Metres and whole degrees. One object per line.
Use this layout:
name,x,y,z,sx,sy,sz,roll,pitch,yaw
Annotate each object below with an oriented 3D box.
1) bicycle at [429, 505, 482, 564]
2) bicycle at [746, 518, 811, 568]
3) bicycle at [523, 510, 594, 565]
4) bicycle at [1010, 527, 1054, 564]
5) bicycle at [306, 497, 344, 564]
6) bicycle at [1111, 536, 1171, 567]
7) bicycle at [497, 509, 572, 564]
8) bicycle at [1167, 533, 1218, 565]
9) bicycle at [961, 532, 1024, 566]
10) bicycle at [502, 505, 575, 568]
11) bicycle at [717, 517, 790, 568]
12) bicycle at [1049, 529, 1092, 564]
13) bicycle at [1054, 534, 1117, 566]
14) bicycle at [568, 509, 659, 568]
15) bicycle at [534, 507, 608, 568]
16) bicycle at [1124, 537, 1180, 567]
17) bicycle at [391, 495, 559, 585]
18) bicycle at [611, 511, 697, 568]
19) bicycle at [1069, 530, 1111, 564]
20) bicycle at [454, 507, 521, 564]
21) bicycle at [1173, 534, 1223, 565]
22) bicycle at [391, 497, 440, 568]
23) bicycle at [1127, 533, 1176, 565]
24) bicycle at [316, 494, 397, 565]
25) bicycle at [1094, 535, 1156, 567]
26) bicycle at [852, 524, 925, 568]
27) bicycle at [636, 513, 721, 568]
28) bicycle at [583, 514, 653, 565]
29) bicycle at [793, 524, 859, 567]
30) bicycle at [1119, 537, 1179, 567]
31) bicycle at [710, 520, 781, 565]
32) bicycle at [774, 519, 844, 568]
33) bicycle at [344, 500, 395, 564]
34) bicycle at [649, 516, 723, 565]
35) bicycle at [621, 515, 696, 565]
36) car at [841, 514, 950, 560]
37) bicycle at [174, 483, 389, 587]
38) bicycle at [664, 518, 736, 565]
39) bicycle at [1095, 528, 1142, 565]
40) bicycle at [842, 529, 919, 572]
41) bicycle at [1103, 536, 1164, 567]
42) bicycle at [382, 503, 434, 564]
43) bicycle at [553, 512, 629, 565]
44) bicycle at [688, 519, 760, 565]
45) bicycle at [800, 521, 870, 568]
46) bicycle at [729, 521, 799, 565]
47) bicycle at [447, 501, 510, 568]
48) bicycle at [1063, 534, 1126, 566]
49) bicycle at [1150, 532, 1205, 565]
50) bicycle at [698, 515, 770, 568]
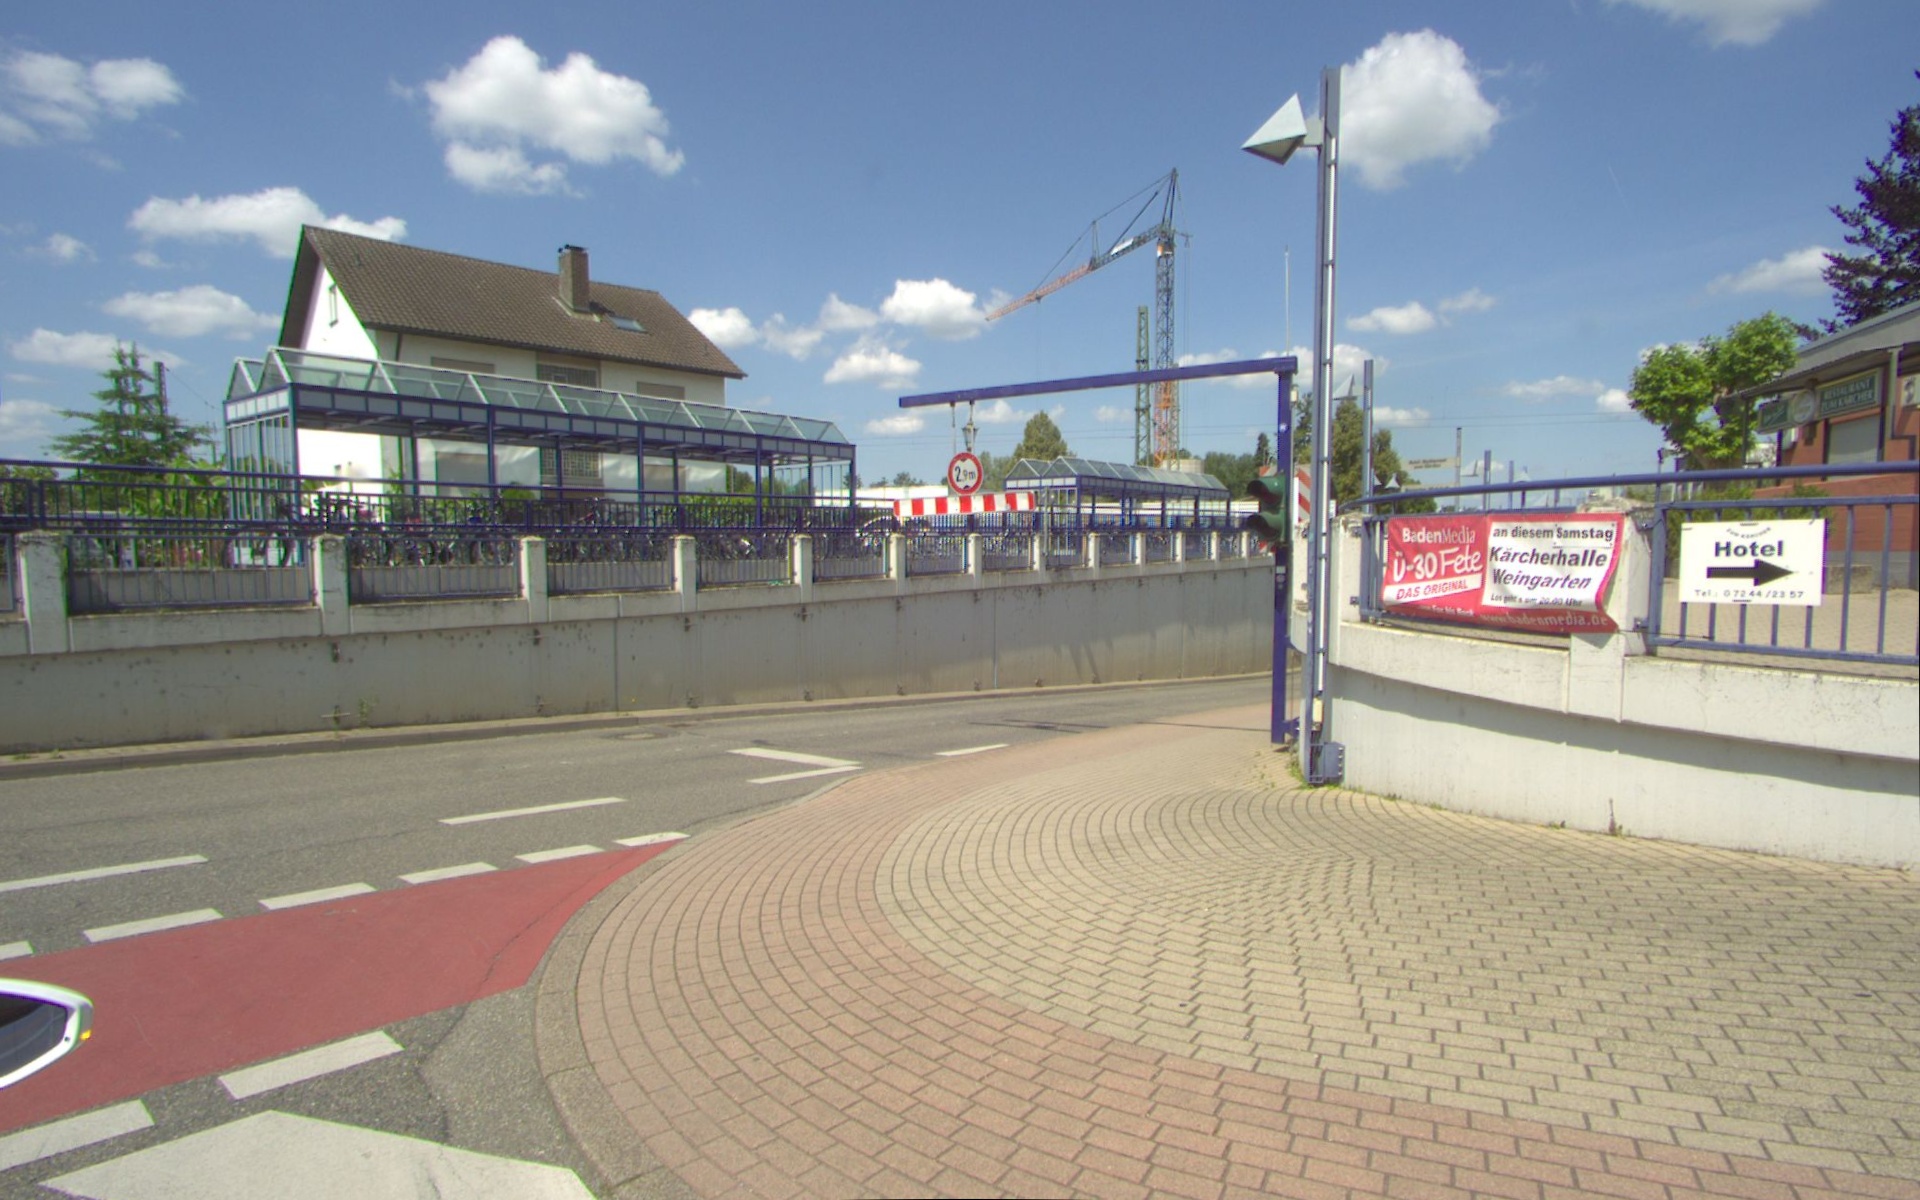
bicycle,-9.083,-1.158,17.999,0.370,1.009,1.947,-2,4,-41
bicycle,-3.905,-1.210,21.408,0.511,1.009,2.022,-2,3,-38
bicycle,-7.838,-1.206,19.508,1.941,1.009,0.412,3,4,39
bicycle,2.337,-1.769,32.591,0.382,1.174,1.585,-2,4,-42
bicycle,-10.226,-1.094,16.117,0.450,1.009,1.874,-1,3,-34
bicycle,6.152,-1.655,34.129,1.999,1.009,0.508,2,3,36
bicycle,-8.149,-1.195,19.149,1.941,1.009,0.471,3,4,39
bicycle,8.798,-1.919,37.926,1.799,1.174,0.508,2,4,37
bicycle,0.999,-1.577,30.908,1.999,1.009,0.508,2,3,36
bicycle,-7.229,-1.070,17.109,0.432,1.009,2.259,-2,4,-42
bicycle,-4.320,-1.191,20.844,0.512,1.009,2.018,-2,4,-43
bicycle,3.727,-1.805,33.841,0.382,1.174,1.585,-2,4,-42
bicycle,3.938,-1.572,31.505,1.999,1.009,0.435,2,3,36
bicycle,-6.279,-1.099,18.065,2.254,1.009,0.529,3,4,42
bicycle,-6.837,-1.084,17.538,0.432,1.009,2.259,-2,4,-42
bicycle,6.705,-1.687,35.054,1.897,1.009,0.508,2,3,36
bicycle,-6.598,-0.797,13.748,0.387,1.141,2.106,3,3,38
bicycle,-5.807,-1.130,18.940,2.162,1.009,0.529,3,4,42
bicycle,4.592,-1.862,35.483,0.382,1.174,1.585,-2,4,-42
bicycle,-8.787,-1.178,18.587,1.943,1.009,0.423,3,4,43
bicycle,9.117,-1.933,38.365,1.799,1.174,0.508,2,4,37
bicycle,-8.292,-1.005,15.210,0.431,1.009,2.087,-1,3,-34
bicycle,7.322,-1.950,38.350,1.799,1.174,0.508,2,4,37
bicycle,-9.052,-1.037,14.982,2.049,1.009,0.330,3,4,39
bicycle,5.466,-1.626,33.234,1.999,1.009,0.508,2,3,36
bicycle,-1.745,-1.297,24.128,2.016,1.009,0.540,3,4,43
bicycle,-5.541,-1.154,19.616,2.162,1.009,0.529,3,4,42
bicycle,-7.078,-1.245,20.678,1.779,1.009,0.516,3,4,39
bicycle,-3.360,-1.344,24.900,0.540,1.009,2.018,-2,4,-44
bicycle,6.485,-1.665,34.463,1.999,1.009,0.508,2,3,36
bicycle,-4.975,-1.323,23.134,1.941,1.009,0.516,3,4,39
bicycle,-3.318,-1.222,21.874,0.511,1.009,2.020,-2,3,-41
bicycle,-9.886,-1.115,16.736,0.370,1.009,1.947,-2,4,-41
bicycle,-5.944,-1.273,21.654,1.941,1.009,0.516,3,4,39
bicycle,-6.349,-1.253,21.039,1.941,1.009,0.516,3,4,39
car,-2.556,-2.445,39.421,3.945,1.701,1.987,2,3,35
bicycle,-8.010,-0.738,11.935,0.329,1.141,2.106,3,3,38
bicycle,-5.786,-1.296,22.253,1.941,1.009,0.516,3,4,39
bicycle,5.119,-1.736,32.448,0.425,1.174,1.585,-2,4,-42
bicycle,-1.940,-1.200,24.175,2.134,1.009,0.434,3,4,39
bicycle,5.822,-1.642,33.709,1.999,1.009,0.508,2,3,36
bicycle,-9.697,-1.147,17.571,0.370,1.009,1.947,-2,4,-41
bicycle,-7.409,-1.225,20.079,1.941,1.009,0.516,3,4,39
bicycle,-5.368,-1.310,22.699,1.941,1.009,0.516,3,4,39
bicycle,-2.832,-1.244,22.530,0.539,1.009,2.020,-2,3,-41
bicycle,-4.629,-1.337,23.560,1.941,1.009,0.516,3,4,39
bicycle,-7.763,-1.035,16.102,0.432,1.009,2.084,-2,3,-39
bicycle,4.287,-1.589,32.013,1.999,1.009,0.508,2,3,36
bicycle,7.890,-1.866,36.376,1.897,1.174,0.508,2,4,37
bicycle,-4.550,-1.161,20.047,0.573,1.009,2.170,-2,3,-37
